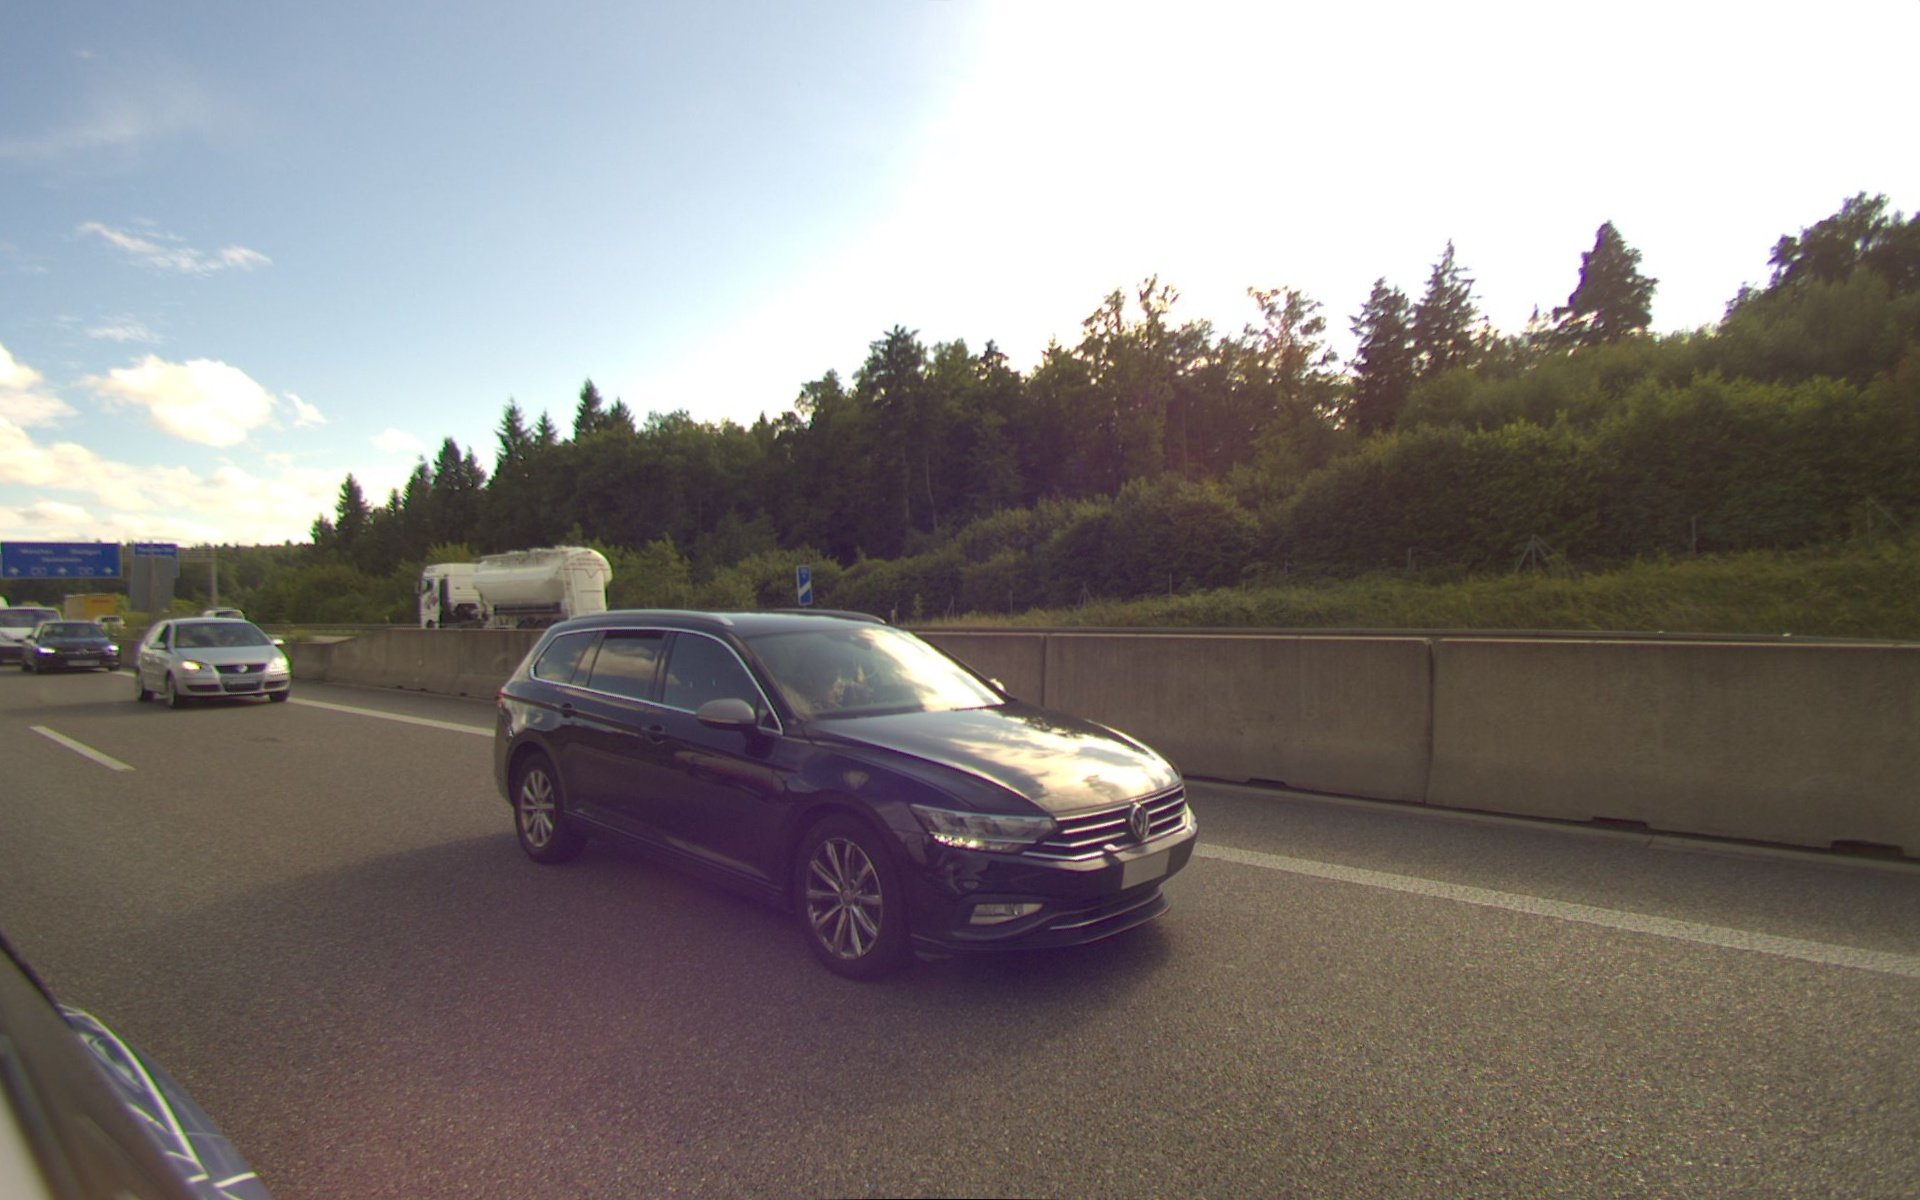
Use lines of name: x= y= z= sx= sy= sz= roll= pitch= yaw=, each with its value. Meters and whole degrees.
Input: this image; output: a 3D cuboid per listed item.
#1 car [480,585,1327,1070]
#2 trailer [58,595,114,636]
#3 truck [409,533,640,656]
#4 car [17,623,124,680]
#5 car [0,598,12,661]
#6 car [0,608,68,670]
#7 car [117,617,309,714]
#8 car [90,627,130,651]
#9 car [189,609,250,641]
car: x=-0.675 y=0.738 z=5.388 sx=4.569 sy=1.488 sz=1.890 roll=-1 pitch=-1 yaw=44
trailer: x=-95.783 y=1.661 z=110.829 sx=13.556 sy=4.234 sz=2.804 roll=-1 pitch=0 yaw=41
truck: x=-18.323 y=-0.146 z=41.655 sx=13.902 sy=4.387 sz=2.902 roll=-1 pitch=0 yaw=41
car: x=-25.006 y=1.405 z=28.403 sx=3.992 sy=1.442 sz=1.786 roll=-1 pitch=0 yaw=42
car: x=-41.599 y=1.240 z=42.523 sx=5.859 sy=2.591 sz=2.027 roll=-1 pitch=-2 yaw=42
car: x=-32.506 y=1.325 z=34.979 sx=4.846 sy=1.980 sz=1.922 roll=-1 pitch=0 yaw=42
car: x=-13.186 y=1.063 z=17.746 sx=4.664 sy=1.442 sz=1.786 roll=-1 pitch=0 yaw=42
car: x=-69.413 y=3.156 z=82.589 sx=4.321 sy=1.823 sz=1.833 roll=-1 pitch=0 yaw=41
car: x=-41.628 y=1.405 z=56.847 sx=4.321 sy=1.725 sz=1.833 roll=-1 pitch=0 yaw=41
